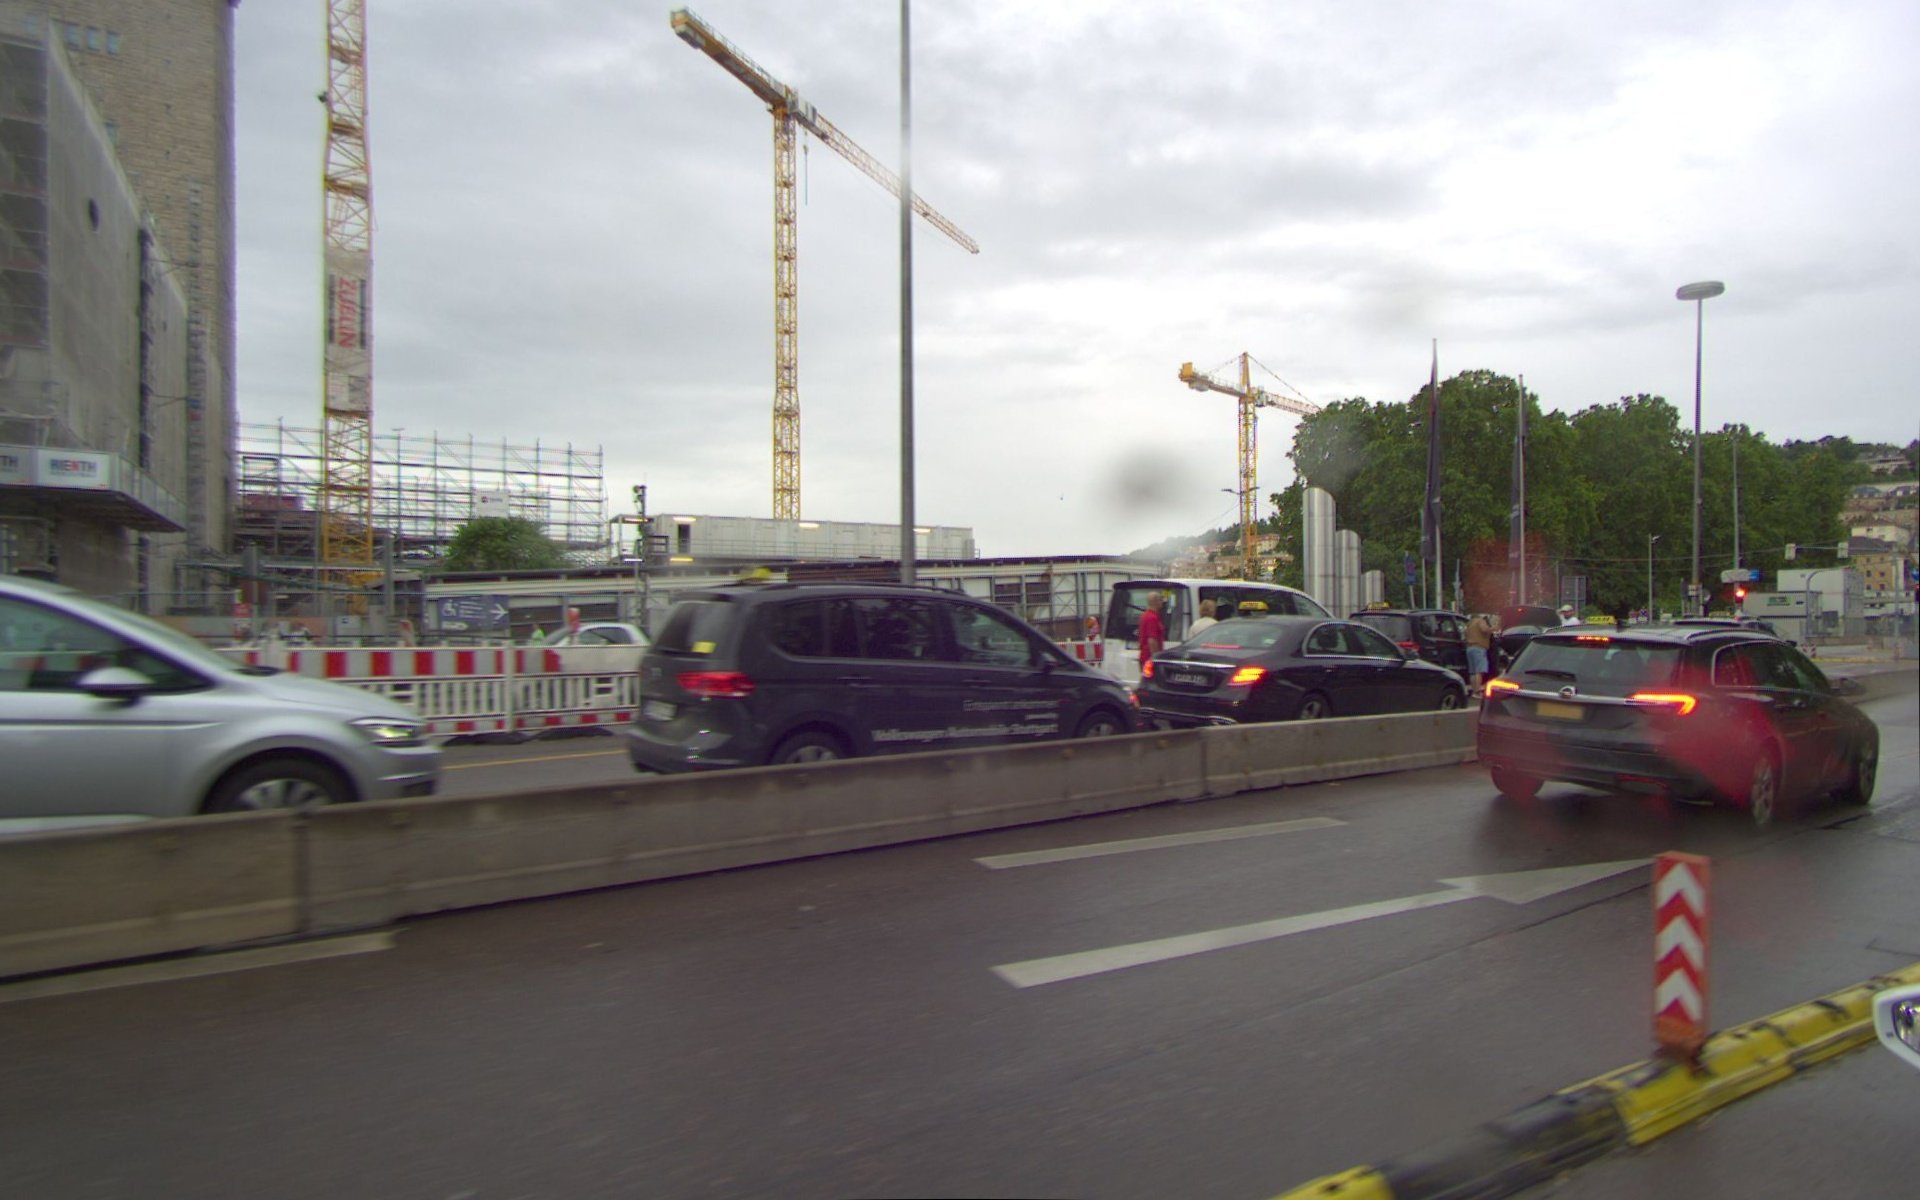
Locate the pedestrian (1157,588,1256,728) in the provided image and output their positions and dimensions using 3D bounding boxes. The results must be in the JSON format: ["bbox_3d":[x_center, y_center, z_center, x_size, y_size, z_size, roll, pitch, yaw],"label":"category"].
[{"bbox_3d":[3.315,0.756,13.515,1.016,1.807,0.829,1,-1,-31],"label":"pedestrian"}]

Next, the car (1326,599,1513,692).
[{"bbox_3d":[9.099,0.852,19.780,4.019,1.651,1.701,1,-1,-38],"label":"car"}]

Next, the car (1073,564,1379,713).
[{"bbox_3d":[4.437,0.590,16.238,5.322,2.040,1.978,2,-1,-38],"label":"car"}]

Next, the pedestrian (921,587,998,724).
[{"bbox_3d":[-0.005,0.728,13.548,0.812,1.776,0.631,1,0,-30],"label":"pedestrian"}]

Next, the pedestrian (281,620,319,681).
[{"bbox_3d":[-20.928,1.587,31.866,0.718,1.906,0.640,1,-2,-3],"label":"pedestrian"}]

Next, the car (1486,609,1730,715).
[{"bbox_3d":[11.220,1.015,17.267,4.831,1.588,1.979,2,-3,-37],"label":"car"}]

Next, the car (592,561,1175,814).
[{"bbox_3d":[-0.440,0.579,8.151,4.449,1.531,1.810,2,-1,-37],"label":"car"}]

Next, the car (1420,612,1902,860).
[{"bbox_3d":[6.015,0.892,8.397,4.805,1.528,1.865,1,-1,-36],"label":"car"}]

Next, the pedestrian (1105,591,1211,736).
[{"bbox_3d":[2.422,0.750,12.370,0.826,1.697,1.019,0,-1,-30],"label":"pedestrian"}]

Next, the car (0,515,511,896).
[{"bbox_3d":[-5.039,0.471,5.136,4.730,1.718,1.810,2,-1,-37],"label":"car"}]

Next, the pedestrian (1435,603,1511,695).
[{"bbox_3d":[9.786,0.919,19.189,1.009,1.704,0.835,0,-1,-10],"label":"pedestrian"}]

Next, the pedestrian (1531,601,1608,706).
[{"bbox_3d":[12.118,1.043,19.994,0.822,2.040,1.025,0,-1,-14],"label":"pedestrian"}]

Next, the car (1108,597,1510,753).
[{"bbox_3d":[4.282,0.790,12.013,4.953,1.531,1.961,2,-1,-34],"label":"car"}]

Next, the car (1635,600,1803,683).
[{"bbox_3d":[15.826,0.863,20.873,4.120,1.550,1.976,2,-3,-41],"label":"car"}]

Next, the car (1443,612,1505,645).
[{"bbox_3d":[45.462,2.541,88.767,5.728,2.737,2.370,1,-3,-33],"label":"car"}]

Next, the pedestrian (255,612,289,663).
[{"bbox_3d":[-25.951,1.413,37.888,0.789,1.906,0.659,1,-2,-3],"label":"pedestrian"}]
